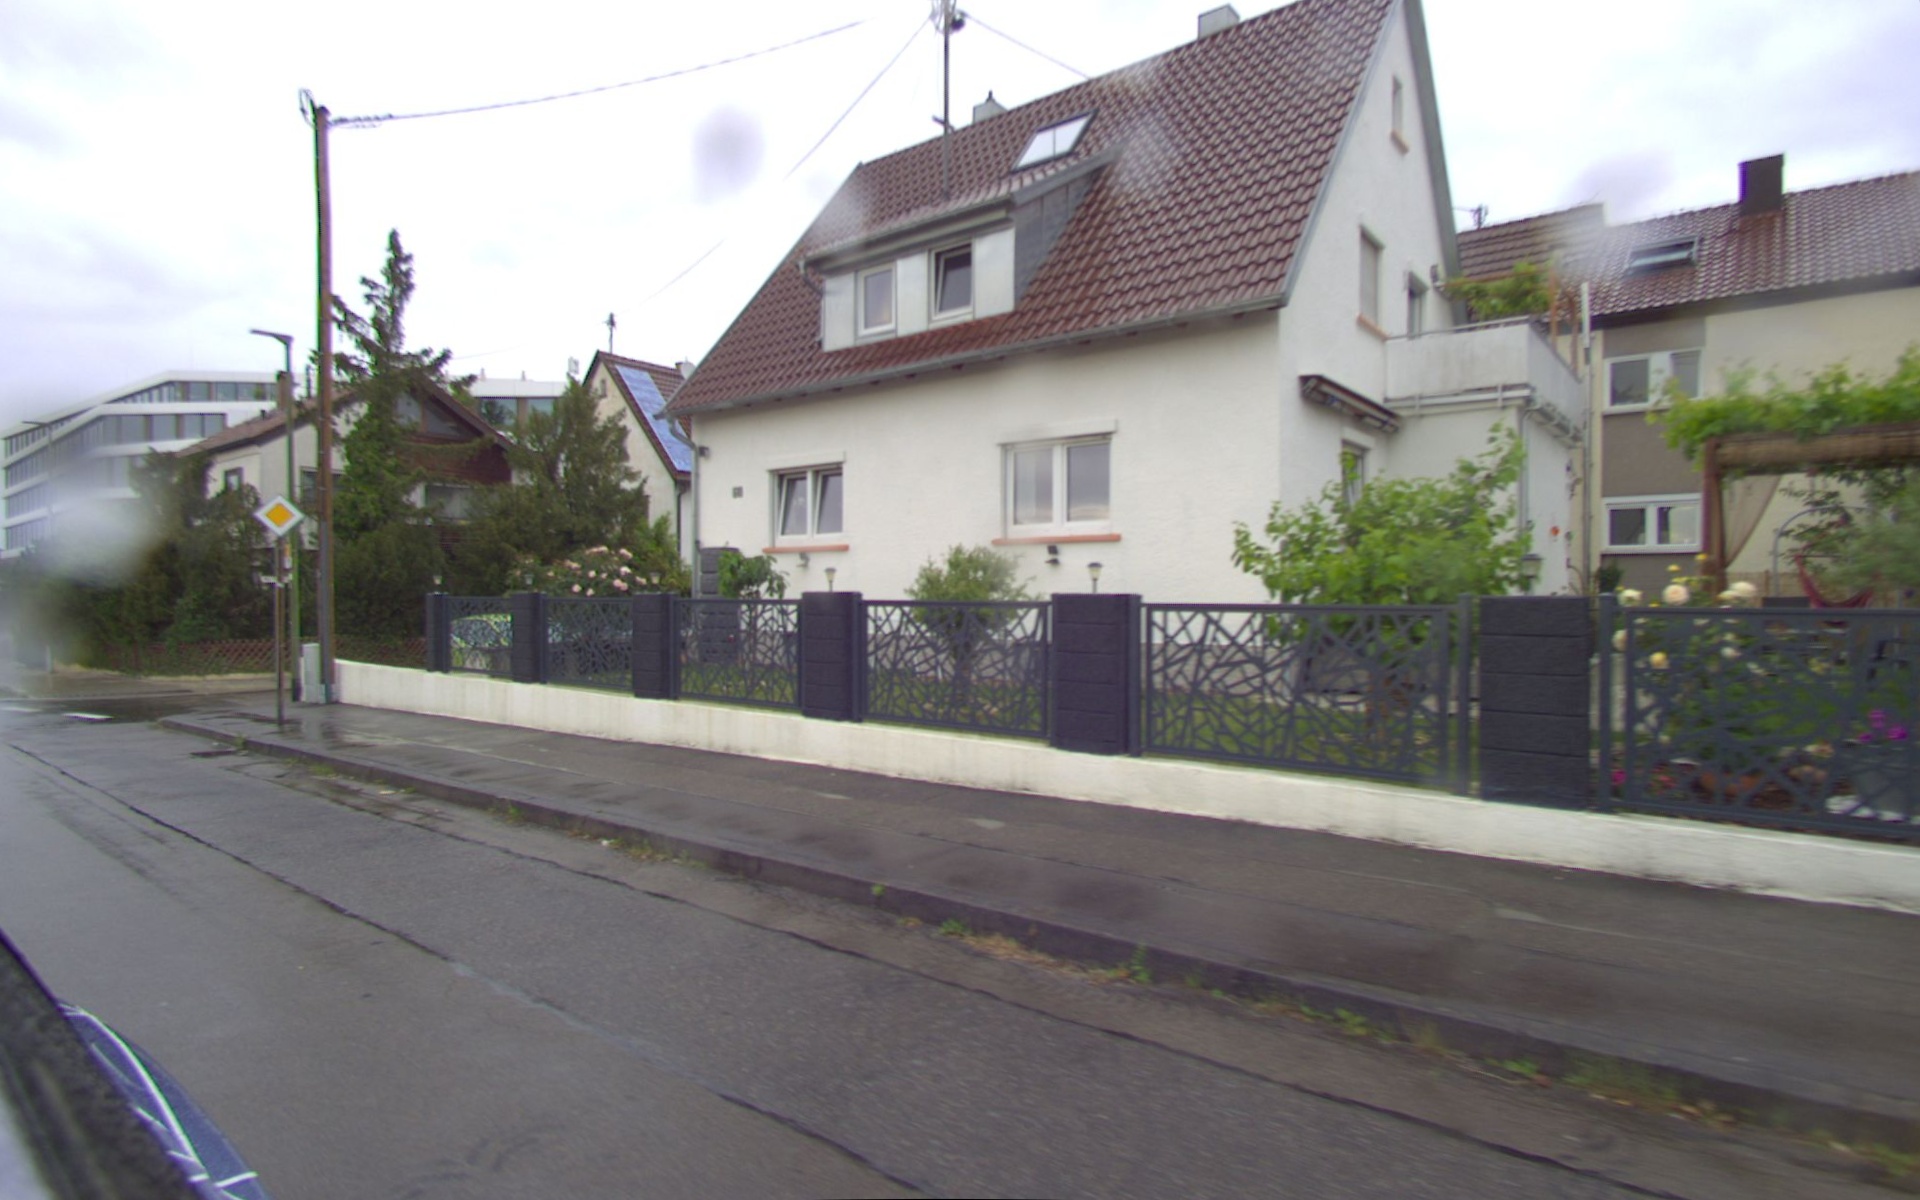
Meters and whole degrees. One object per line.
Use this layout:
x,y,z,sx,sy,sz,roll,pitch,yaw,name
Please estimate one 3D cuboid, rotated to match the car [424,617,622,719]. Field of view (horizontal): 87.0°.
-7.433,1.056,17.108,3.455,1.478,1.760,0,0,41,car
